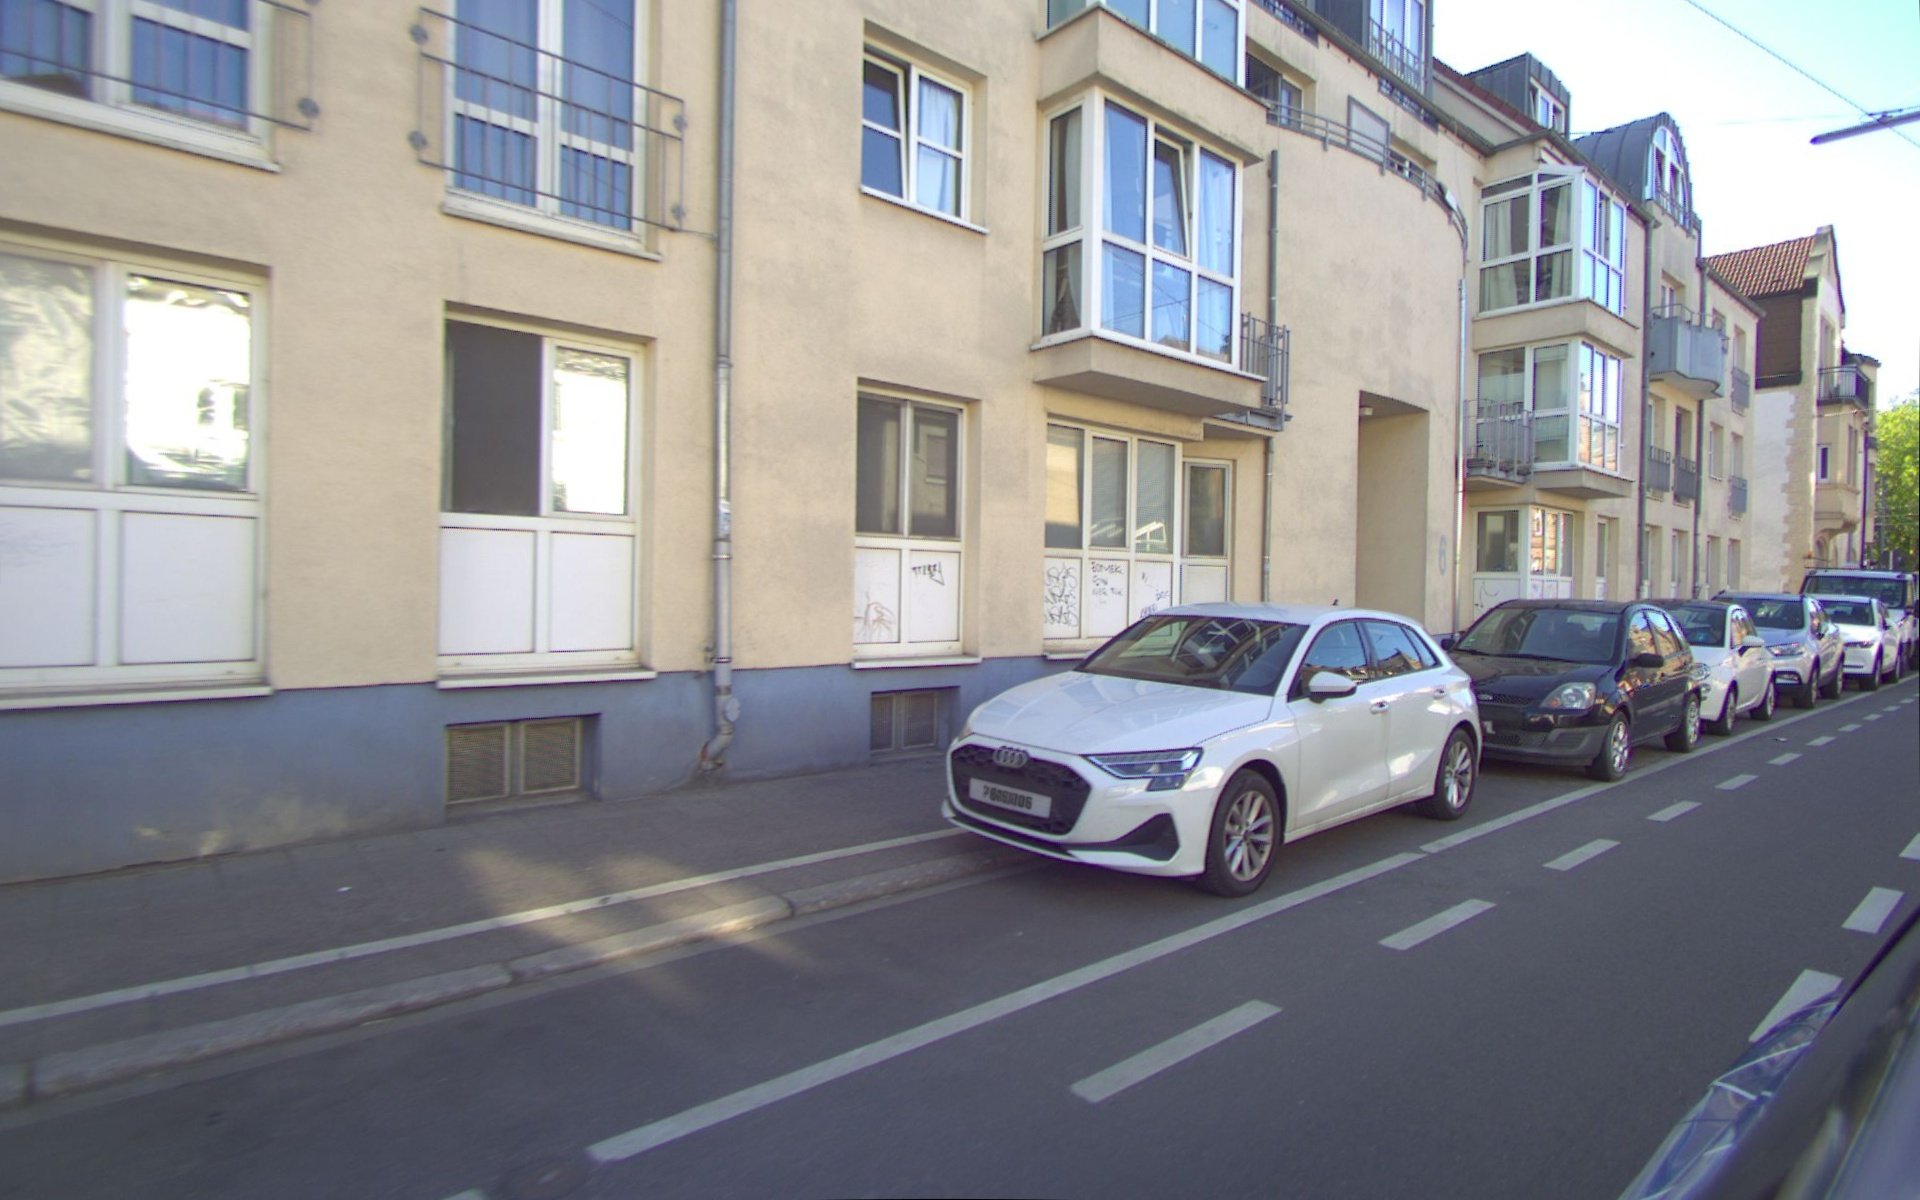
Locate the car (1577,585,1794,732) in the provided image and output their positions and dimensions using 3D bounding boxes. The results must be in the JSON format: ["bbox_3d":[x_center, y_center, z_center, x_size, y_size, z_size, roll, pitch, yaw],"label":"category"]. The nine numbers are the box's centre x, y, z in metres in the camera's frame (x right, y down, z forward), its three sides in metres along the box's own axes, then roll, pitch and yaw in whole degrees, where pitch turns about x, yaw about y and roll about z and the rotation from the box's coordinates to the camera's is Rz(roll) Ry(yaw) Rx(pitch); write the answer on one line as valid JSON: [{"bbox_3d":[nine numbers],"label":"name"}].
[{"bbox_3d":[9.013,0.623,12.496,3.307,1.577,1.498,0,0,-42],"label":"car"}]

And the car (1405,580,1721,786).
[{"bbox_3d":[5.773,0.633,9.536,3.589,1.577,1.556,0,0,-42],"label":"car"}]

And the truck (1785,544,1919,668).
[{"bbox_3d":[21.106,0.083,23.245,6.038,2.508,2.300,0,1,-41],"label":"truck"}]

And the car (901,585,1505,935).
[{"bbox_3d":[1.749,0.687,6.372,4.100,1.510,1.679,0,0,-42],"label":"car"}]

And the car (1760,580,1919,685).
[{"bbox_3d":[16.599,0.540,18.989,4.181,1.769,1.742,0,0,-41],"label":"car"}]

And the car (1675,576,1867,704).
[{"bbox_3d":[12.526,0.534,15.553,3.919,1.721,1.605,0,0,-41],"label":"car"}]
